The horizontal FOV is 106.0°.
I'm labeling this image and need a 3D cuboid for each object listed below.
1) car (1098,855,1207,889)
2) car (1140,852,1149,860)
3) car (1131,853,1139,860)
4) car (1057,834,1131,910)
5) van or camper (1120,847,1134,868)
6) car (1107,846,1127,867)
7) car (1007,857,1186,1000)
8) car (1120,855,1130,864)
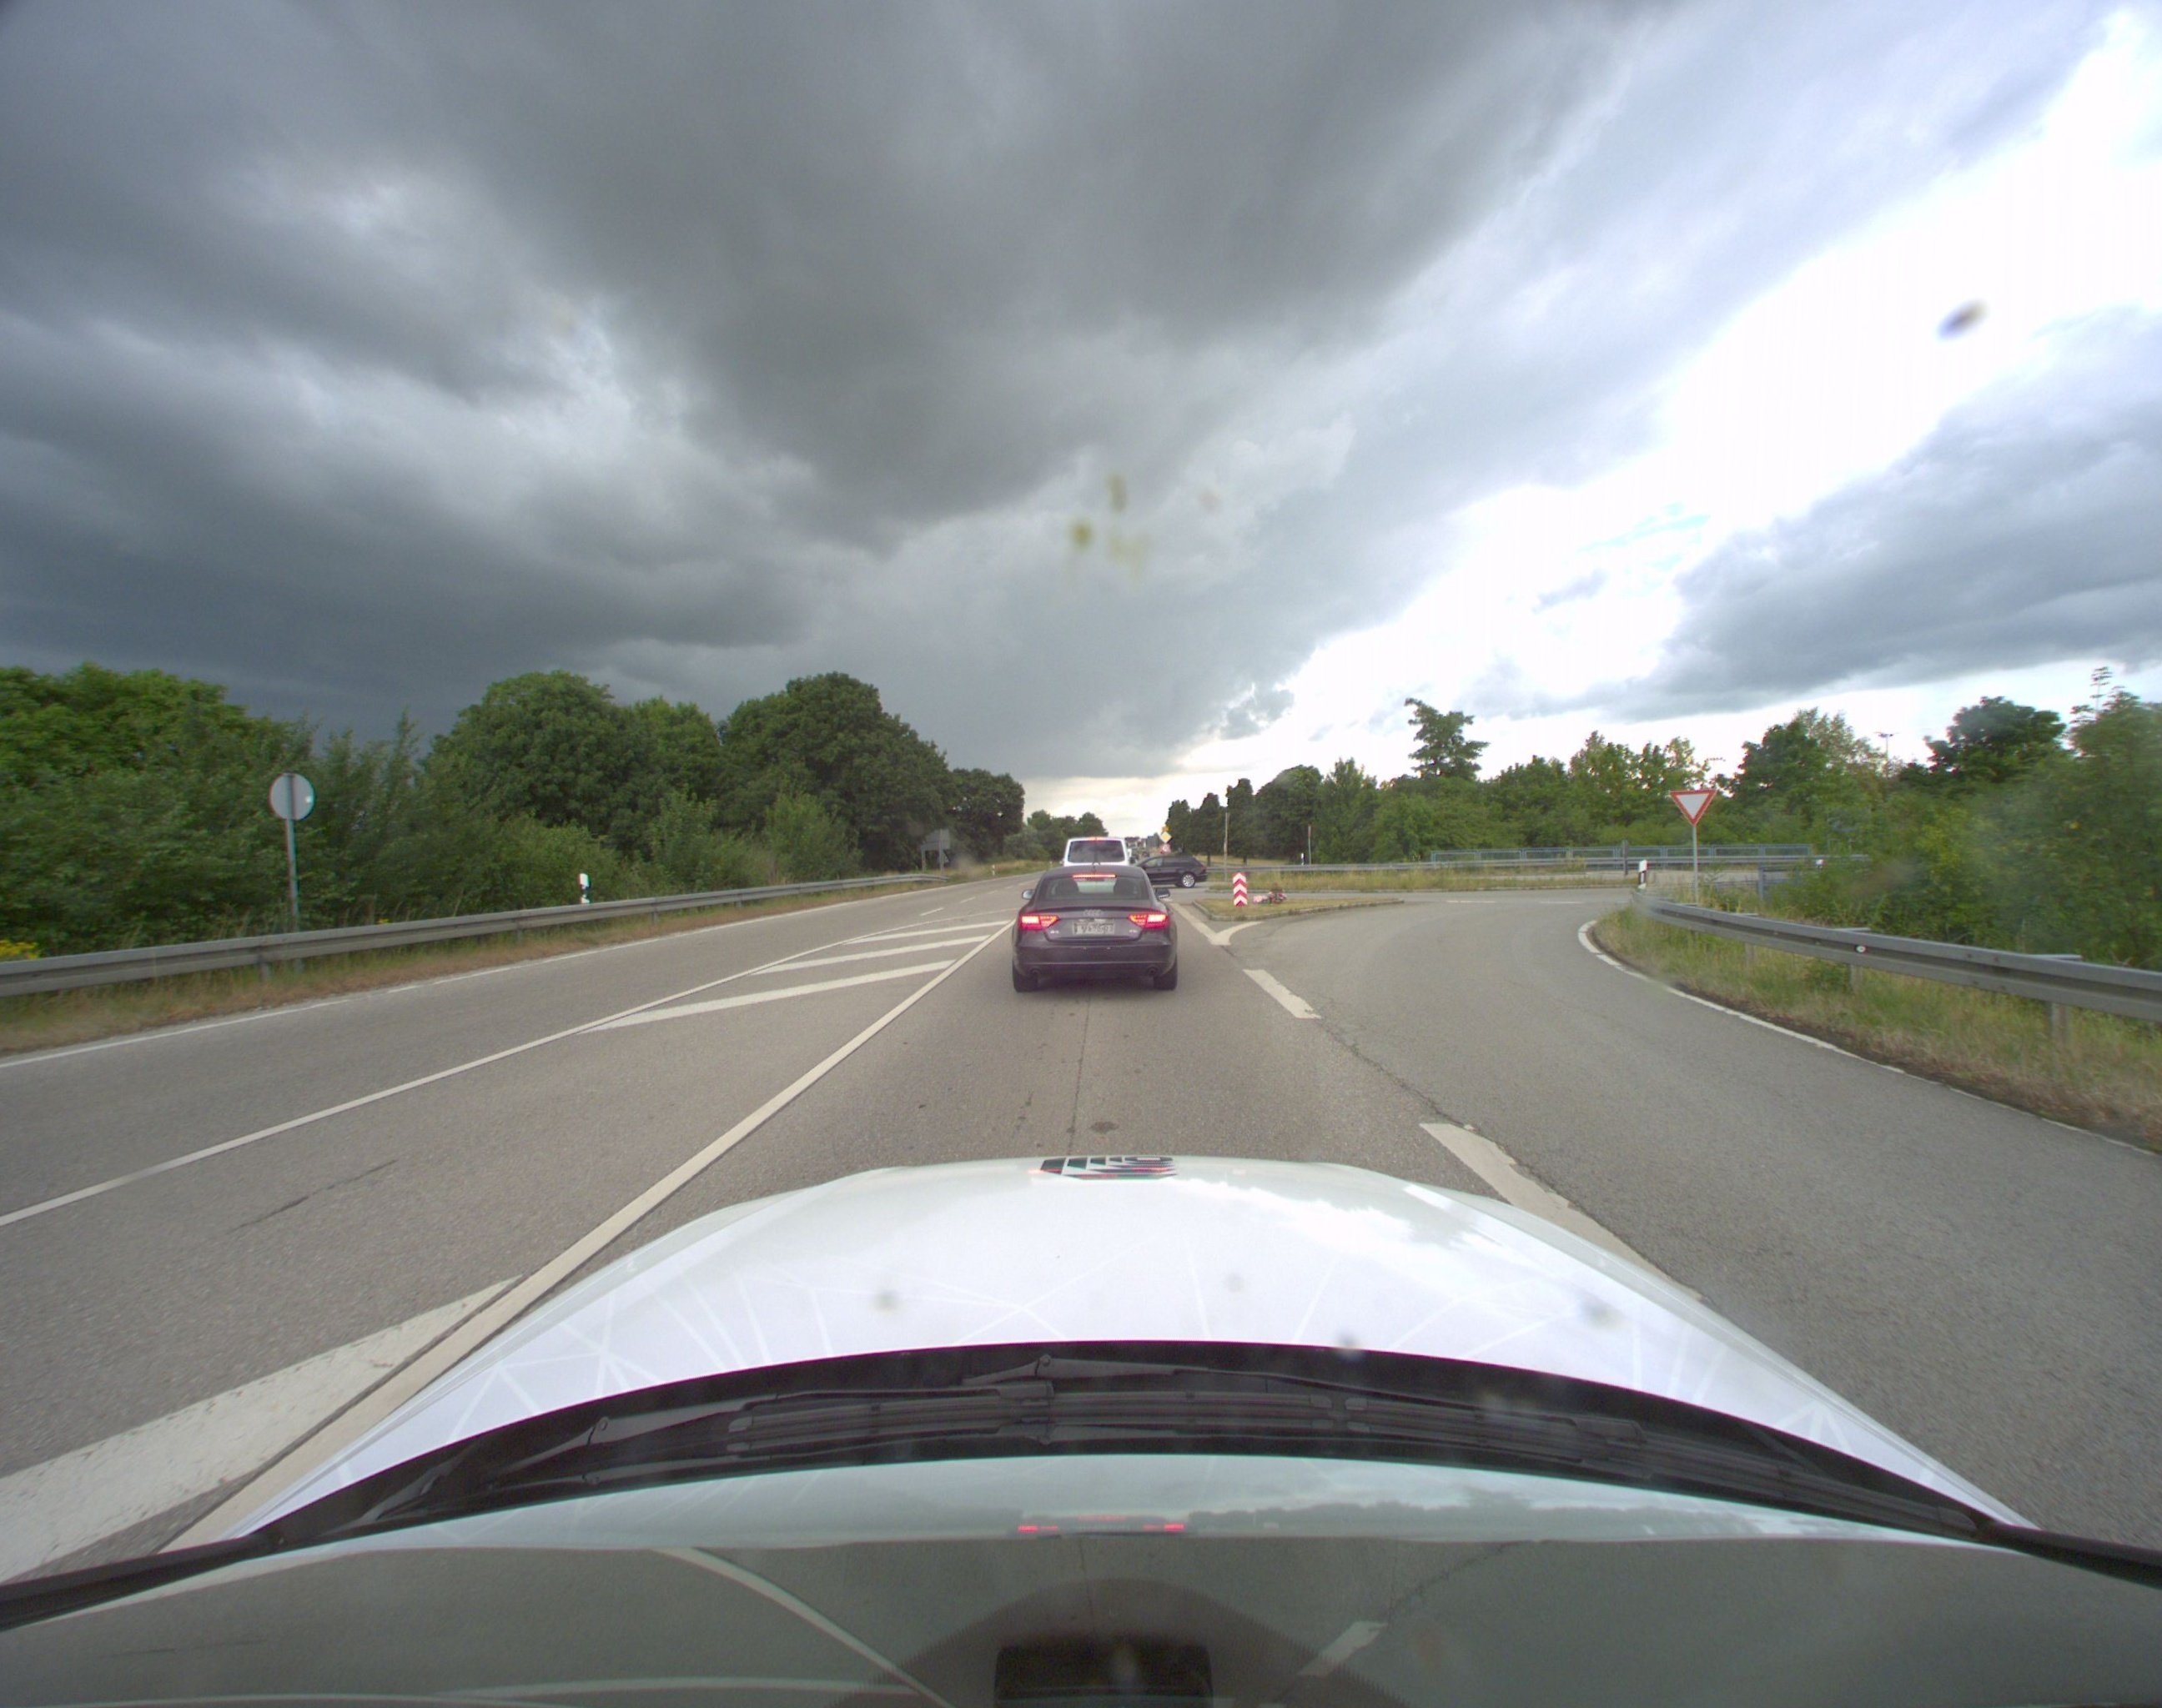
[{"bbox_3d":[3.116,0.788,36.169,4.586,1.374,1.824,-1,0,-4],"label":"car"},{"bbox_3d":[15.940,0.423,204.547,1.986,2.013,4.001,-1,0,1],"label":"car"},{"bbox_3d":[11.752,0.566,176.374,1.712,1.451,4.003,0,0,3],"label":"car"},{"bbox_3d":[0.400,0.431,22.330,1.832,1.882,4.002,-1,0,2],"label":"car"},{"bbox_3d":[8.180,0.634,144.614,2.330,3.481,5.724,-1,0,4],"label":"van or camper"},{"bbox_3d":[3.925,0.276,87.666,1.984,2.088,4.005,-2,0,5],"label":"car"},{"bbox_3d":[0.217,0.754,10.151,1.776,1.376,4.002,-1,0,2],"label":"car"},{"bbox_3d":[6.879,0.870,128.459,1.251,1.353,3.473,-2,0,8],"label":"car"}]
